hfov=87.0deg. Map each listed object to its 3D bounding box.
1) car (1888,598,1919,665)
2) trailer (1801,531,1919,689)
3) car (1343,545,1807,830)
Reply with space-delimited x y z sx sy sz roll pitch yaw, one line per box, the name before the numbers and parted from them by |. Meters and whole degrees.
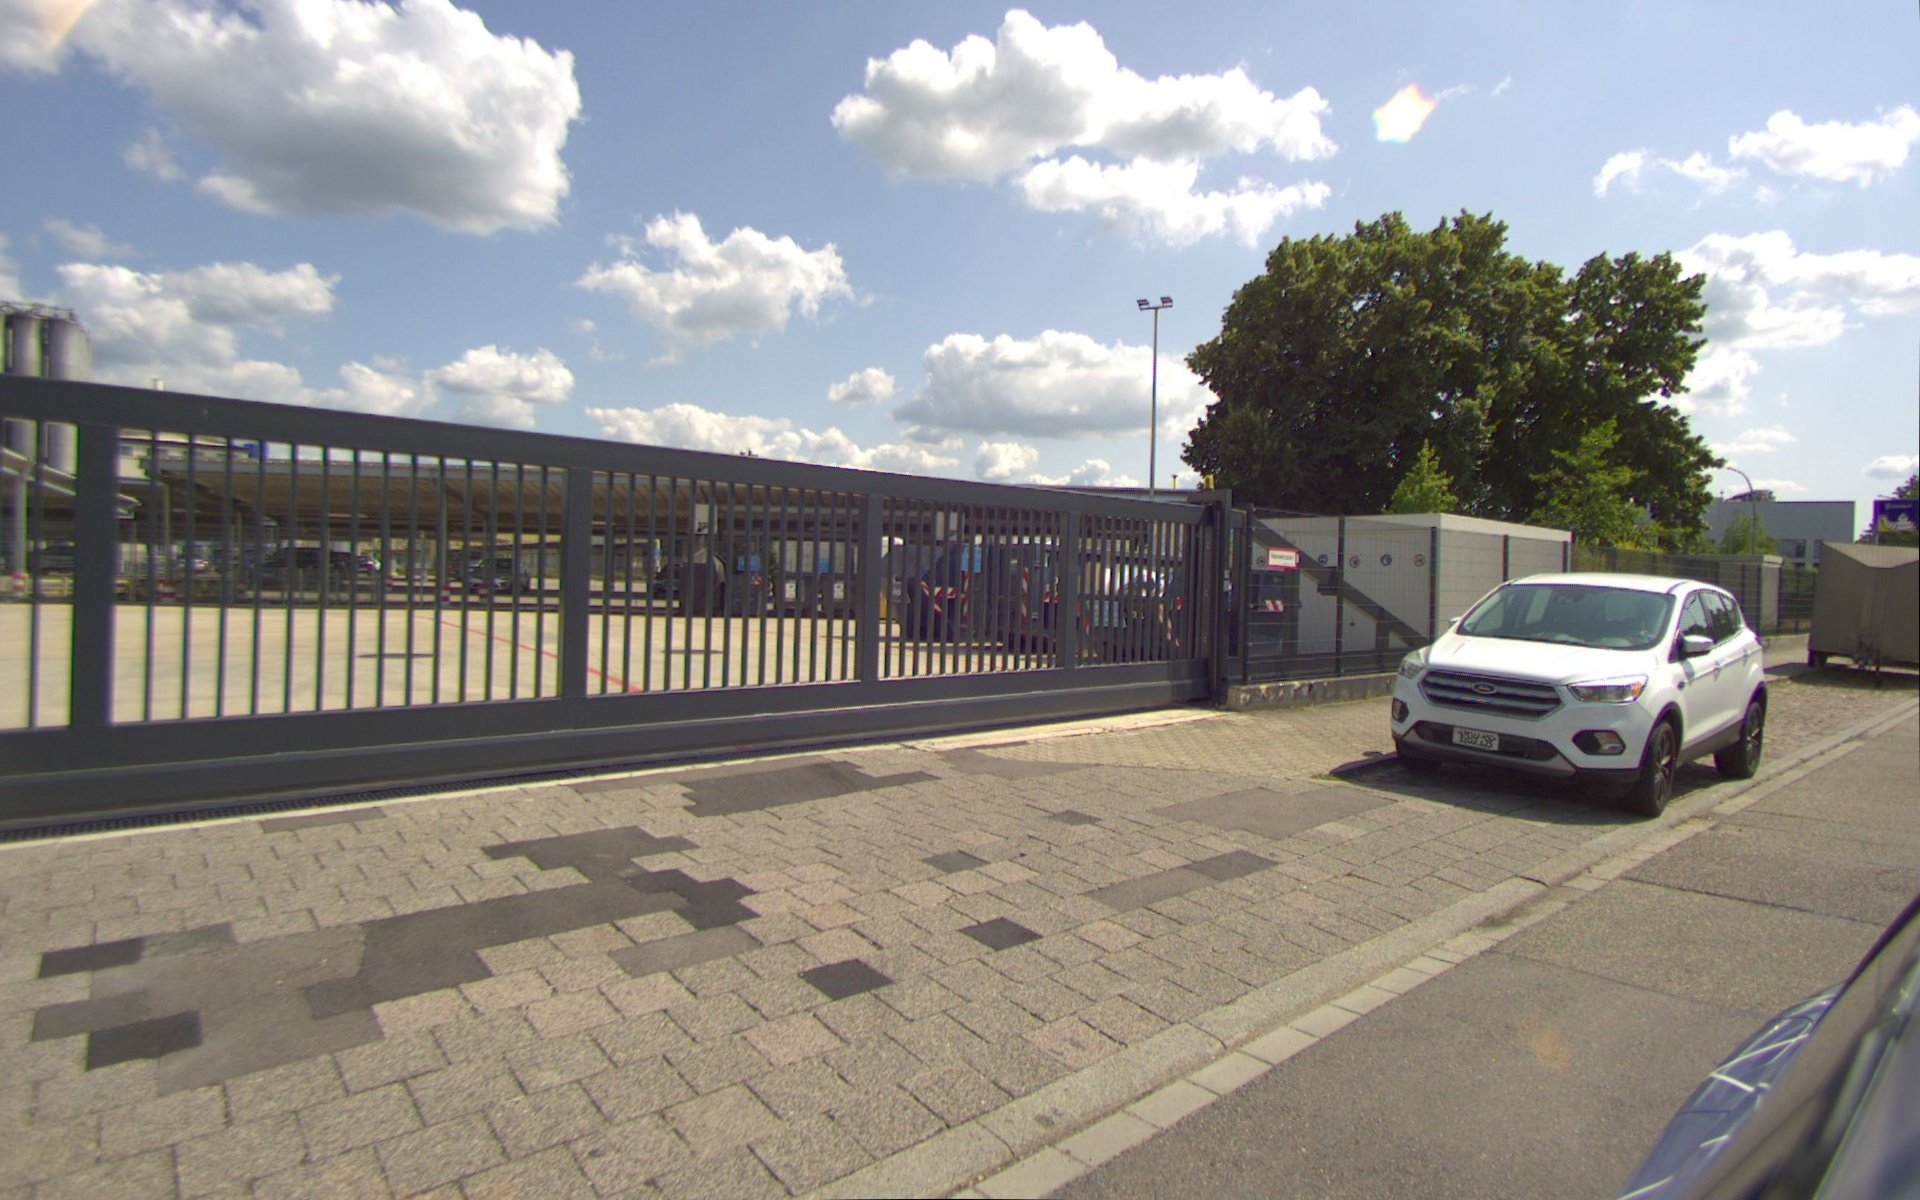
car | 23.999 0.765 24.579 4.001 1.478 1.694 -1 4 -42
trailer | 19.090 0.135 20.396 6.114 2.769 2.209 -1 5 -41
car | 5.341 0.506 8.510 4.597 1.714 1.940 0 4 -41
